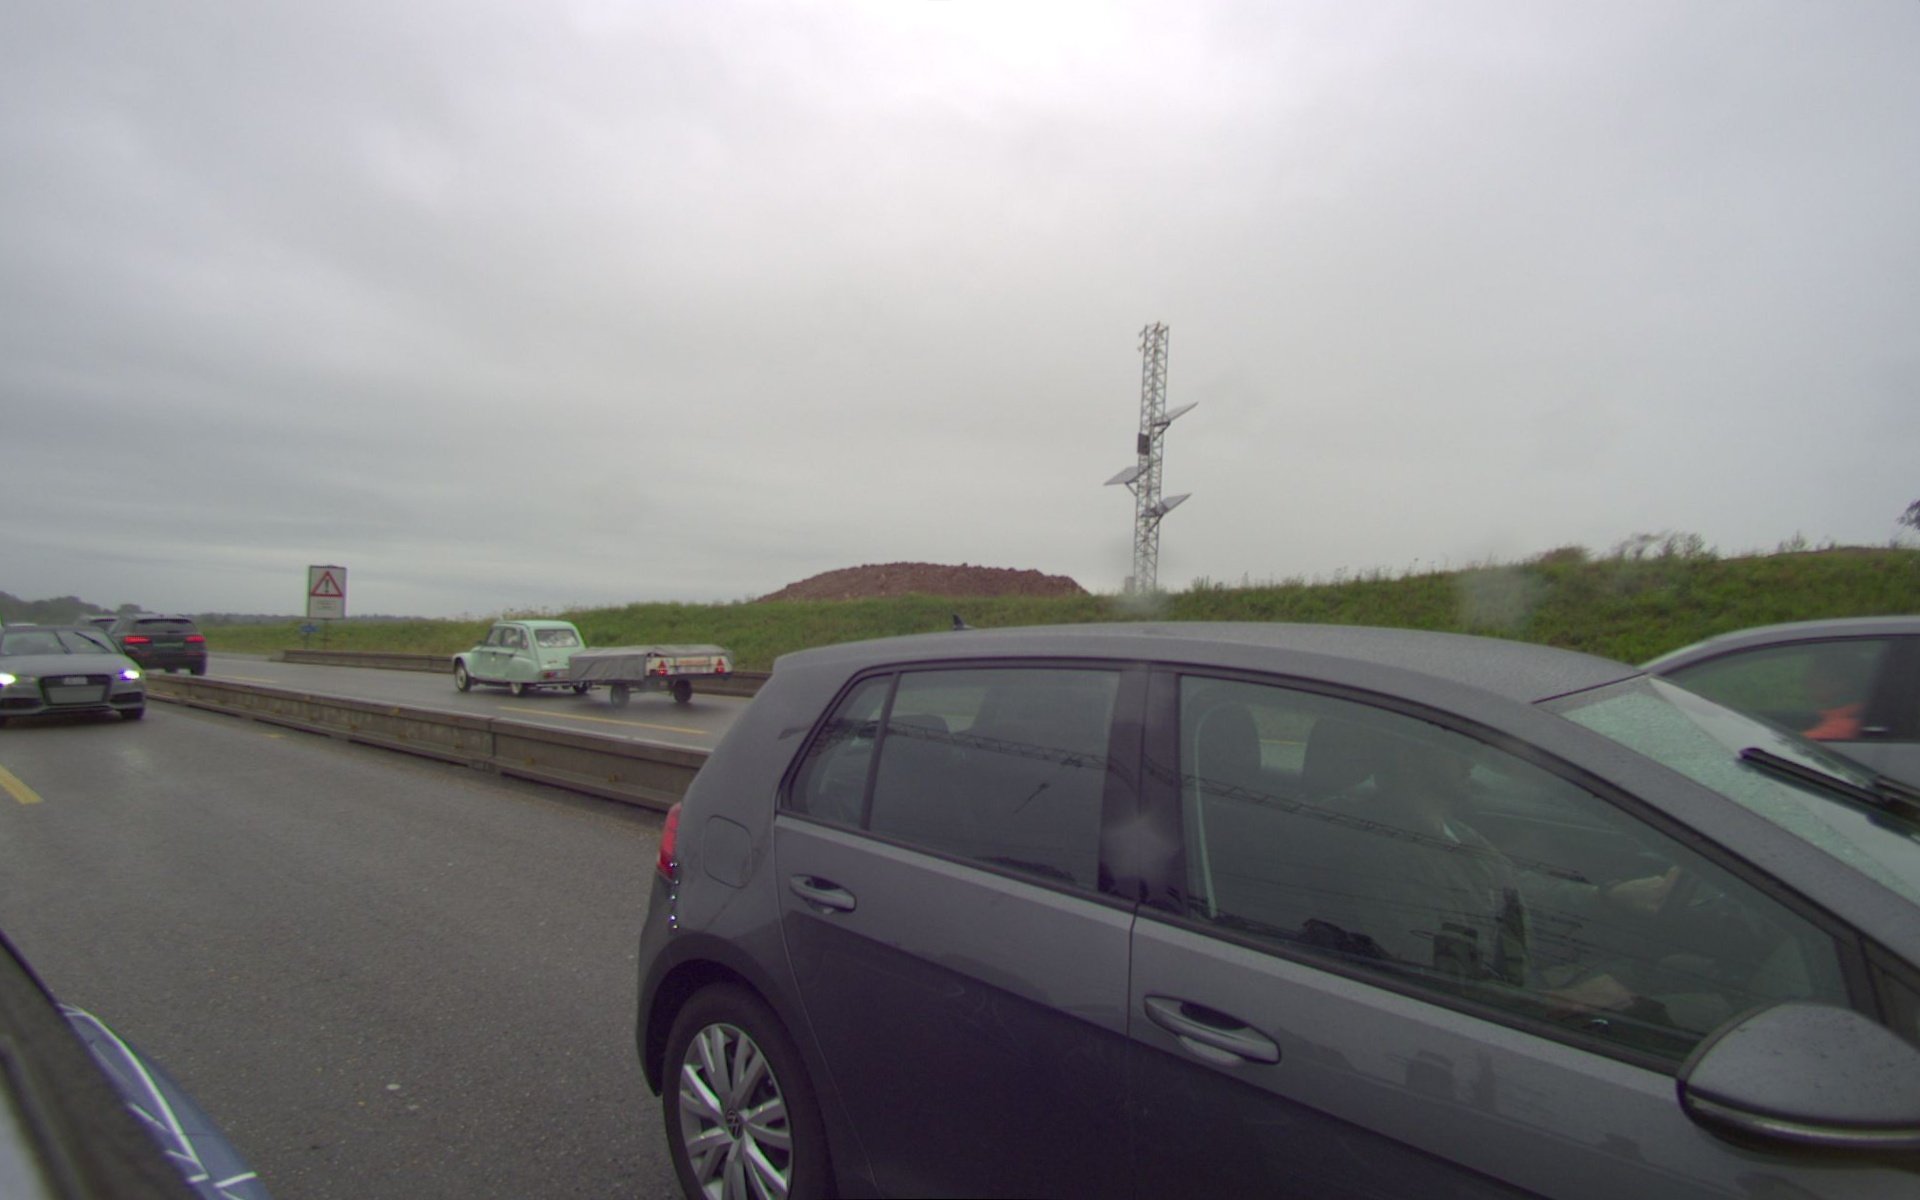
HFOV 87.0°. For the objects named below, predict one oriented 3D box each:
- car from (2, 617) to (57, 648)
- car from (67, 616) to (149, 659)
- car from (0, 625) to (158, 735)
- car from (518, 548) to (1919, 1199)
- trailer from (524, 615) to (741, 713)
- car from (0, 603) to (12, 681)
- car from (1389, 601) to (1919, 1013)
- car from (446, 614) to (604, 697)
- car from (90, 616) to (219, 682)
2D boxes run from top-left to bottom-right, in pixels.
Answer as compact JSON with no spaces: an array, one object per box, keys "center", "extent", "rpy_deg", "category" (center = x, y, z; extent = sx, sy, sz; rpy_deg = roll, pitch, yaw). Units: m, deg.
[{"center":[-49.681,1.706,54.010],"extent":[3.998,1.552,1.749],"rpy_deg":[-1,0,41],"category":"car"},{"center":[-34.527,1.478,40.980],"extent":[4.749,1.638,1.802],"rpy_deg":[-1,0,41],"category":"car"},{"center":[-13.643,1.093,15.189],"extent":[4.085,1.393,1.781],"rpy_deg":[0,-1,41],"category":"car"},{"center":[0.988,0.742,1.938],"extent":[4.365,1.518,1.597],"rpy_deg":[0,-2,41],"category":"car"},{"center":[-5.746,1.031,17.521],"extent":[4.159,1.475,1.613],"rpy_deg":[0,-2,41],"category":"trailer"},{"center":[-26.524,1.055,26.415],"extent":[5.153,1.959,2.043],"rpy_deg":[0,-1,41],"category":"car"},{"center":[3.993,0.731,4.209],"extent":[3.706,1.437,1.770],"rpy_deg":[-1,0,41],"category":"car"},{"center":[-8.672,1.046,20.054],"extent":[3.715,1.475,1.344],"rpy_deg":[0,-2,41],"category":"car"},{"center":[-21.506,1.237,26.970],"extent":[4.307,1.605,1.922],"rpy_deg":[0,-1,41],"category":"car"}]
